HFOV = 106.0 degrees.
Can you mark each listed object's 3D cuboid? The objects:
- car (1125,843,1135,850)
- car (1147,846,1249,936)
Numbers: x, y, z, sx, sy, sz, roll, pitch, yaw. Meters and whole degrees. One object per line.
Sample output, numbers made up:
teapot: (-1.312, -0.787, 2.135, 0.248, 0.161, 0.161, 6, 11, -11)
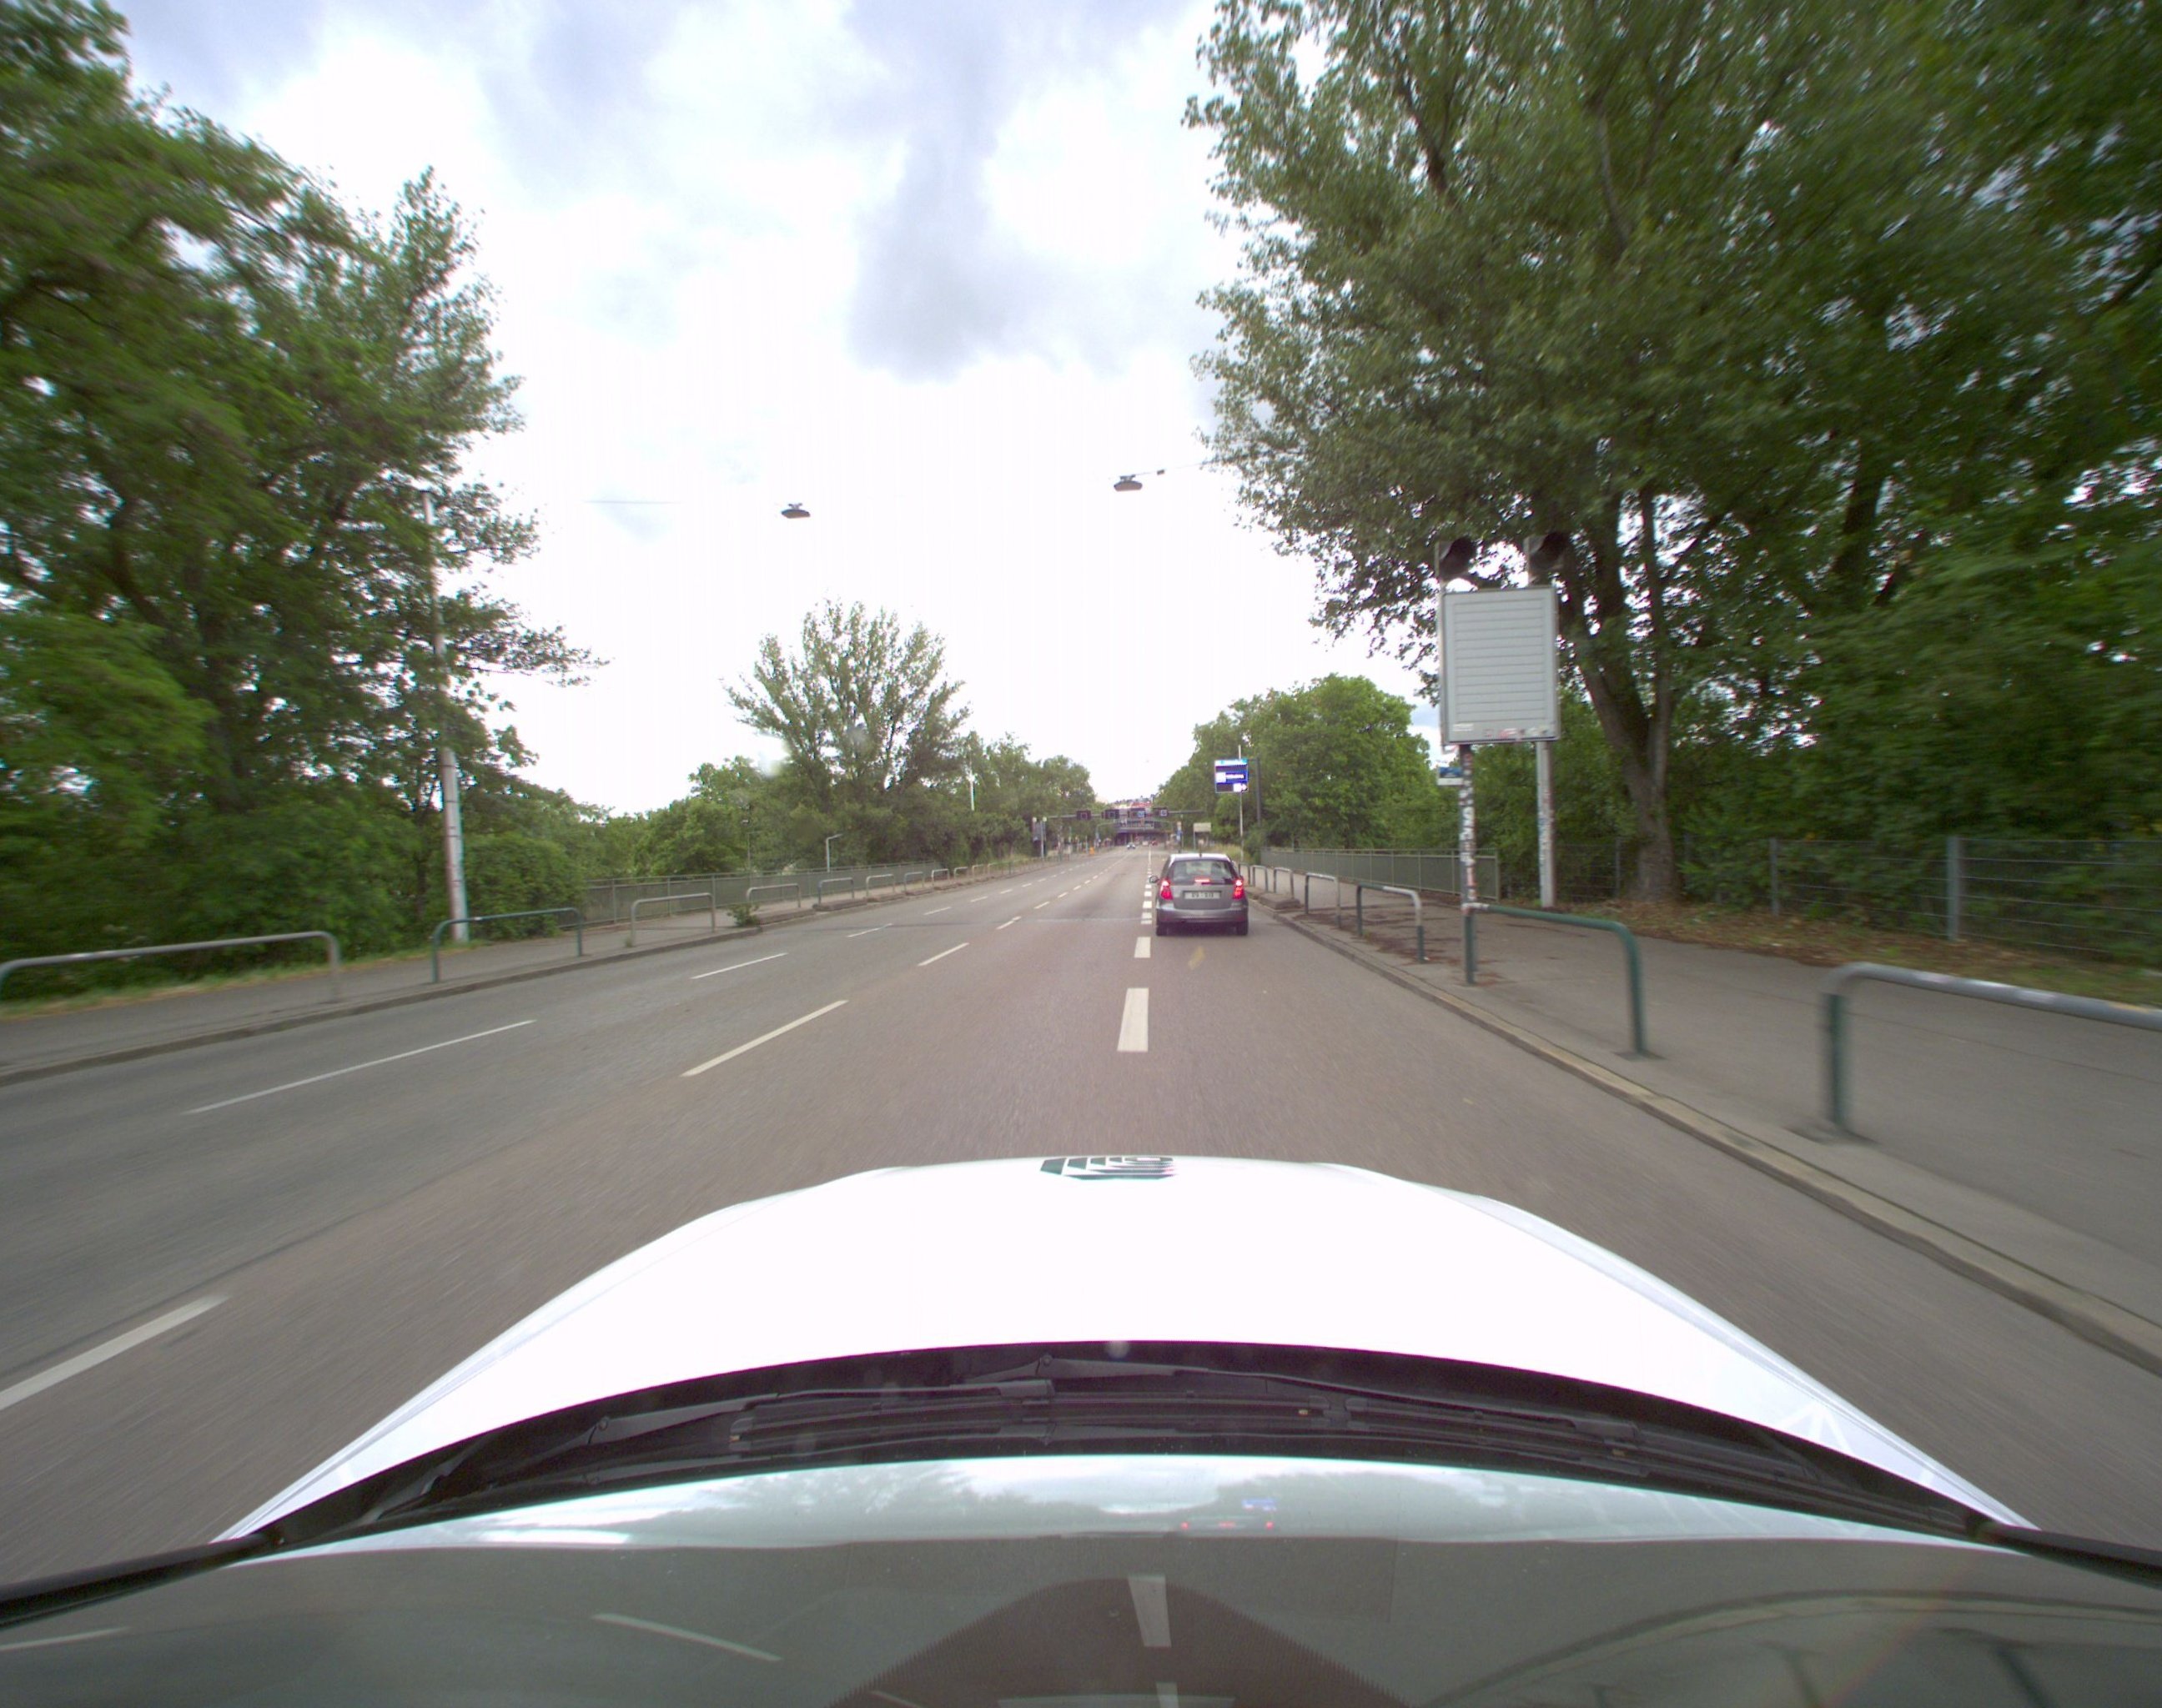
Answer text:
car: (12.285, -1.915, 204.550, 1.982, 1.660, 4.527, -4, 0, 8)
car: (2.382, 0.680, 16.861, 1.816, 1.616, 4.042, -1, 0, 7)
